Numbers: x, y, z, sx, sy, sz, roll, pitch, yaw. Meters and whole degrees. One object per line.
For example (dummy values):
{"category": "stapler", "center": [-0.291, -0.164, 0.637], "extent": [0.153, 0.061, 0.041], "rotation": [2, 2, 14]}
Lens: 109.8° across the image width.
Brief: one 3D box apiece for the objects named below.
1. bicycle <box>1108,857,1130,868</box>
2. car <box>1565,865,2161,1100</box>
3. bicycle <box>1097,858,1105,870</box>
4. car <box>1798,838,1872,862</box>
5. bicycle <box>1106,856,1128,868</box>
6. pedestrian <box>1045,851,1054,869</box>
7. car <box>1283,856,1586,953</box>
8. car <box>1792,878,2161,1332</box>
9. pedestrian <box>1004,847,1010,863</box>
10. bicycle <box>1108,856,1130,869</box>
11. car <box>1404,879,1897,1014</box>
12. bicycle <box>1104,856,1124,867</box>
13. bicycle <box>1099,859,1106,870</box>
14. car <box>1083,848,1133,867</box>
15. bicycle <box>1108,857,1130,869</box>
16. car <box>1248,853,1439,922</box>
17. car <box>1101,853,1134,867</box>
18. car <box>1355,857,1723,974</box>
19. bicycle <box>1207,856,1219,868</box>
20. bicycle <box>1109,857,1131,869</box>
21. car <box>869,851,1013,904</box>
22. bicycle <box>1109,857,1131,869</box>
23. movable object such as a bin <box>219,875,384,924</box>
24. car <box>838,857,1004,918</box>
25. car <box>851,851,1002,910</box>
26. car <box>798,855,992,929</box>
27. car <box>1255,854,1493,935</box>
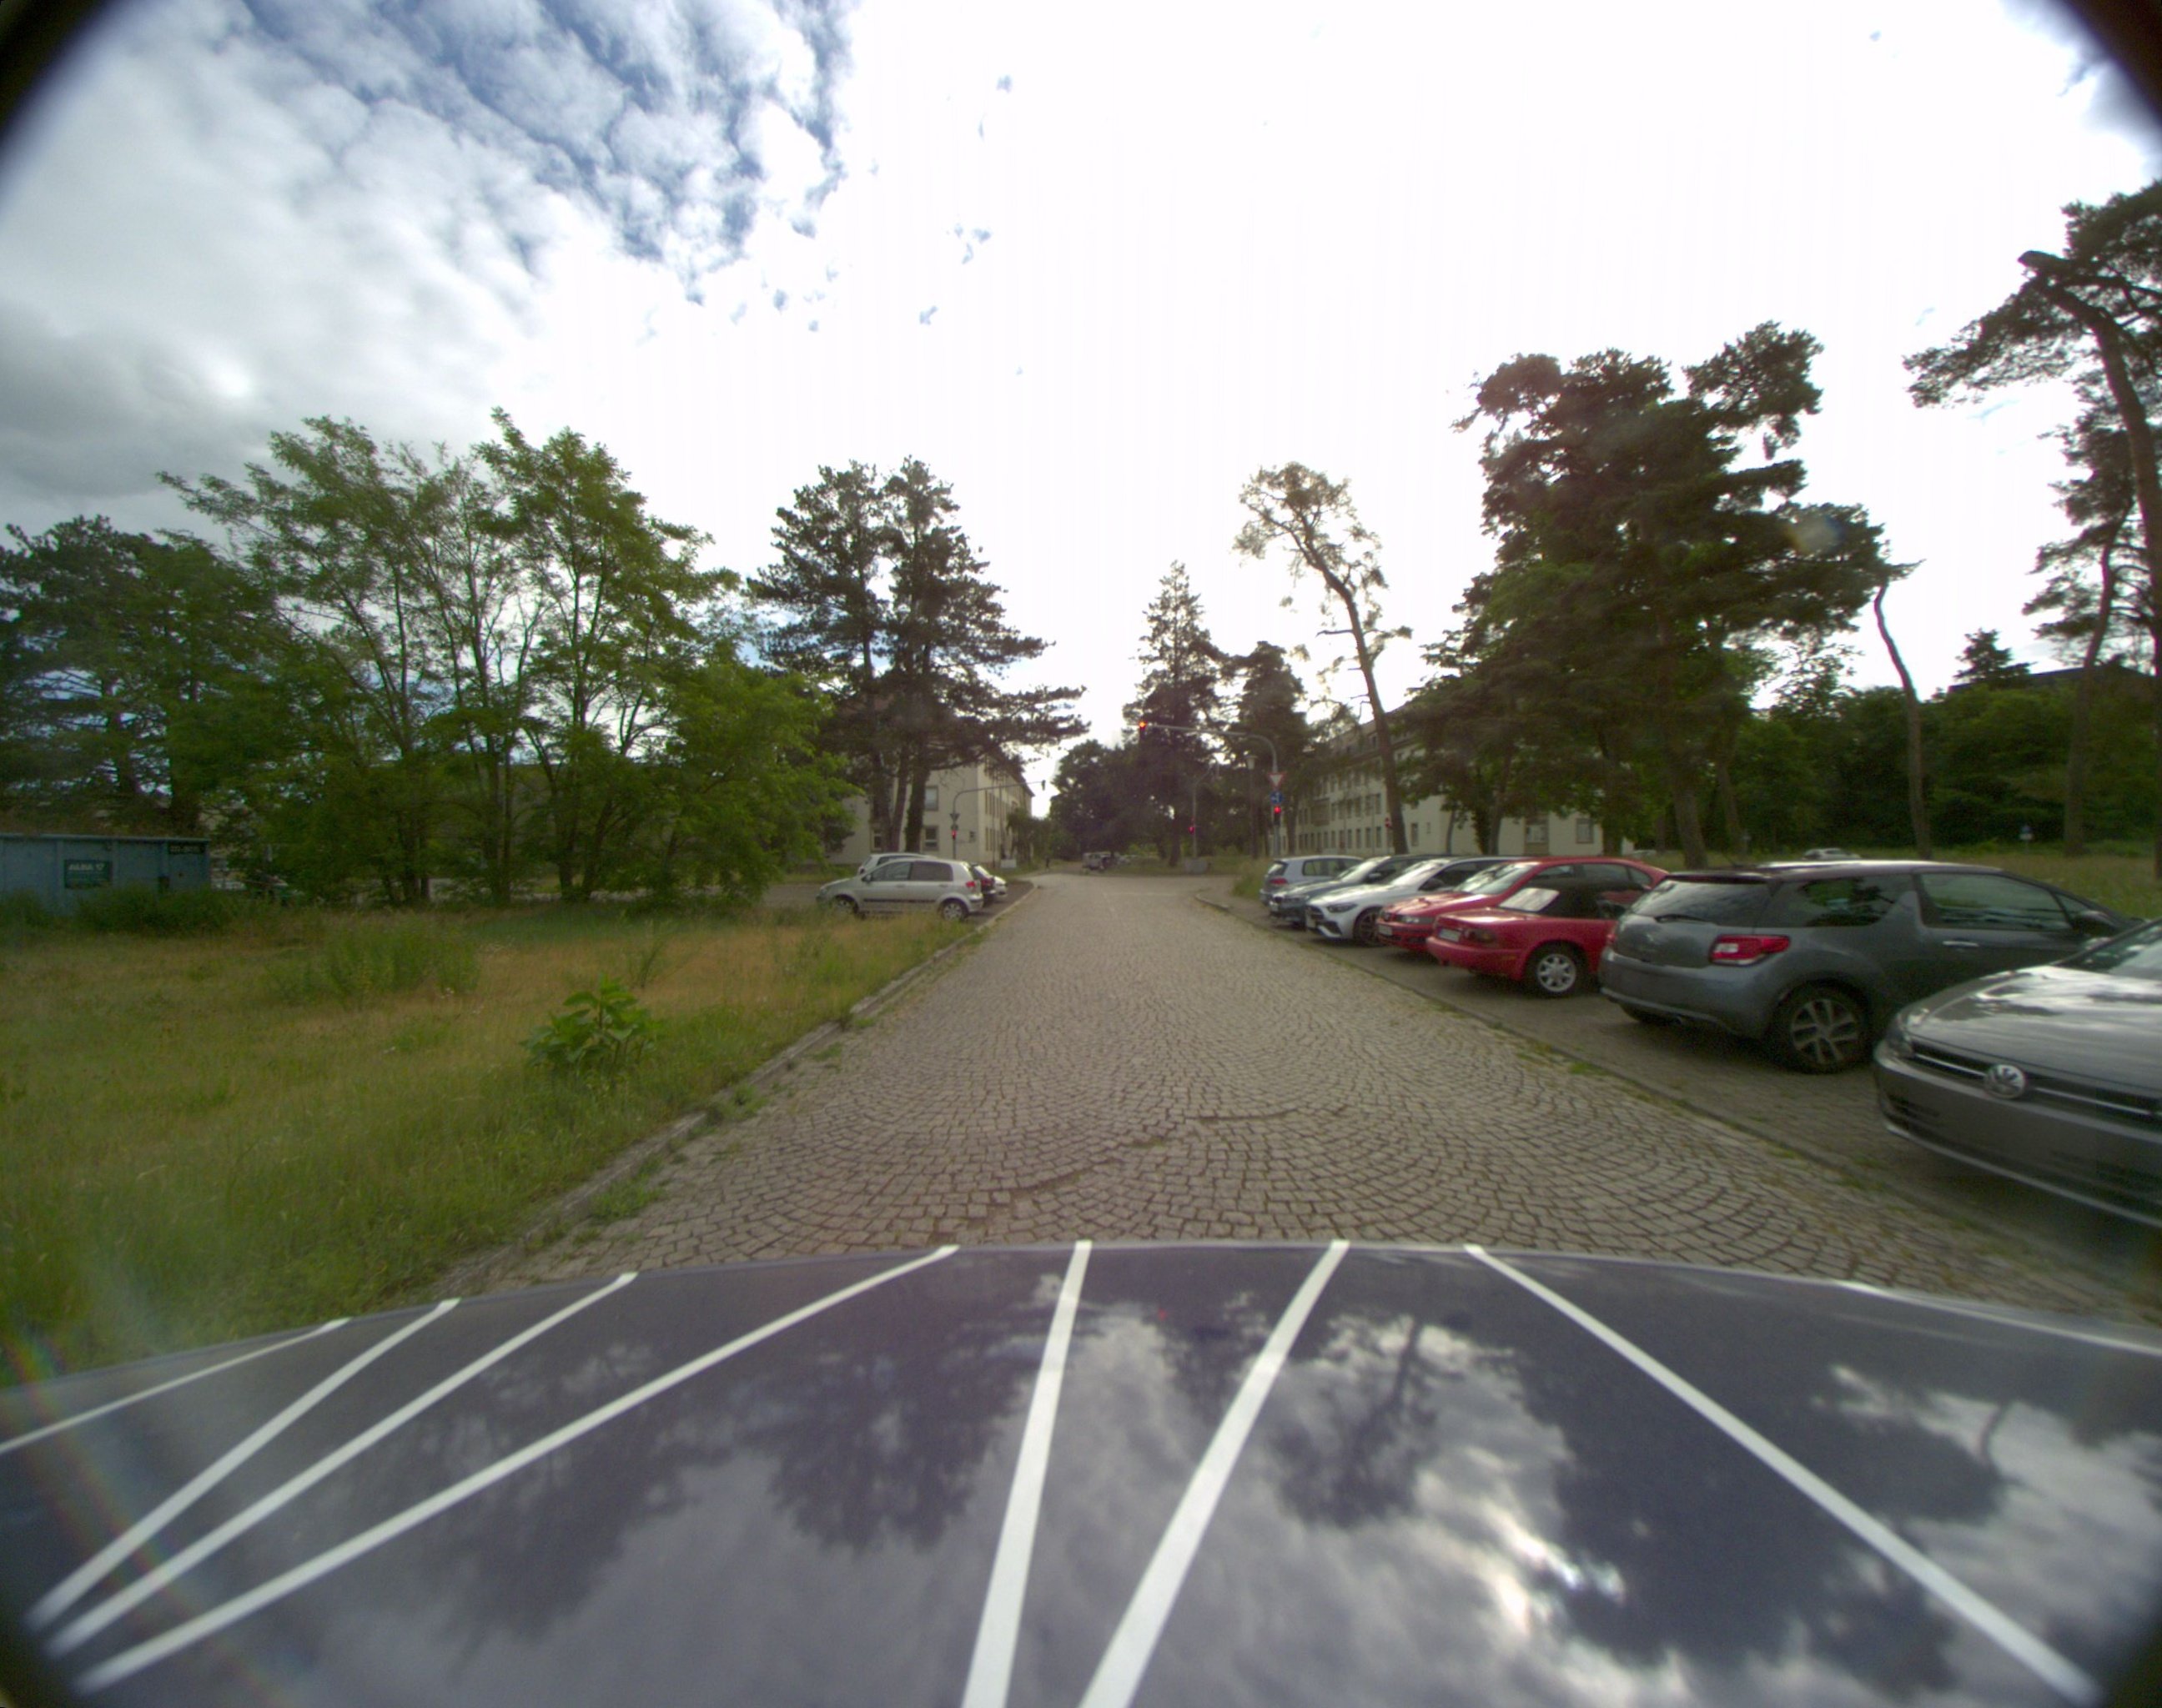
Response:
{"category": "bicycle", "center": [3.505, 0.775, 69.691], "extent": [1.951, 1.059, 0.562], "rotation": [-1, 1, -1]}
{"category": "car", "center": [6.467, 0.870, 5.934], "extent": [4.176, 1.473, 1.846], "rotation": [-1, 0, 1]}
{"category": "bicycle", "center": [1.765, 0.843, 65.889], "extent": [0.459, 0.968, 1.663], "rotation": [-1, 0, 9]}
{"category": "car", "center": [59.779, -0.311, 60.289], "extent": [3.996, 1.796, 1.722], "rotation": [-1, 0, 3]}
{"category": "bicycle", "center": [3.372, 0.753, 70.814], "extent": [1.951, 1.059, 0.562], "rotation": [-1, 1, -1]}
{"category": "pedestrian", "center": [-3.308, 0.650, 80.377], "extent": [0.589, 1.926, 0.792], "rotation": [-1, 1, -33]}
{"category": "car", "center": [5.993, 0.818, 13.263], "extent": [4.386, 1.499, 1.935], "rotation": [-1, 0, -2]}
{"category": "car", "center": [5.805, 0.868, 3.011], "extent": [4.176, 1.483, 1.865], "rotation": [-1, 0, 2]}
{"category": "pedestrian", "center": [-8.082, 0.086, 82.988], "extent": [0.568, 1.691, 0.532], "rotation": [-1, 1, 4]}
{"category": "bicycle", "center": [3.412, 0.781, 68.030], "extent": [1.951, 1.104, 0.562], "rotation": [-1, 1, -1]}
{"category": "car", "center": [6.126, 0.967, 8.594], "extent": [4.176, 1.259, 1.831], "rotation": [-1, 0, 2]}
{"category": "bicycle", "center": [3.196, 0.702, 74.073], "extent": [1.951, 1.059, 0.562], "rotation": [-1, 1, -1]}
{"category": "bicycle", "center": [1.836, 0.856, 64.066], "extent": [0.459, 0.903, 1.663], "rotation": [-1, 0, 4]}
{"category": "car", "center": [3.015, 0.371, 85.906], "extent": [5.366, 1.987, 2.289], "rotation": [-1, 0, -8]}
{"category": "bicycle", "center": [3.353, 0.814, 67.476], "extent": [1.898, 1.059, 0.616], "rotation": [-1, 1, -1]}
{"category": "car", "center": [6.322, 0.774, 18.621], "extent": [3.997, 1.534, 1.905], "rotation": [-1, 0, -1]}
{"category": "car", "center": [3.963, 0.625, 82.265], "extent": [3.440, 1.440, 1.913], "rotation": [-1, 0, -1]}
{"category": "car", "center": [6.387, 0.815, 10.962], "extent": [4.176, 1.468, 1.864], "rotation": [-1, 0, 0]}
{"category": "bicycle", "center": [9.516, 0.581, 54.838], "extent": [0.294, 0.911, 1.052], "rotation": [-1, 0, -21]}
{"category": "bicycle", "center": [3.587, 0.783, 69.205], "extent": [1.951, 1.059, 0.562], "rotation": [-1, 1, -1]}
{"category": "car", "center": [-4.653, 0.771, 25.781], "extent": [4.505, 1.556, 1.905], "rotation": [2, 0, -2]}
{"category": "bicycle", "center": [3.497, 0.795, 68.559], "extent": [1.951, 1.059, 0.562], "rotation": [-1, 1, -1]}
{"category": "movable object such as a bin", "center": [-17.305, 0.999, 16.914], "extent": [2.689, 0.982, 0.853], "rotation": [-1, 0, -2]}
{"category": "car", "center": [-4.207, 0.866, 20.509], "extent": [4.084, 1.444, 1.885], "rotation": [2, 0, -2]}
{"category": "car", "center": [-4.615, 0.781, 23.228], "extent": [4.252, 1.587, 1.884], "rotation": [2, 0, -3]}
{"category": "car", "center": [-4.240, 0.845, 17.799], "extent": [4.084, 1.506, 1.804], "rotation": [2, 0, -2]}
{"category": "car", "center": [6.033, 0.791, 16.007], "extent": [4.262, 1.539, 1.935], "rotation": [-1, 0, -3]}
